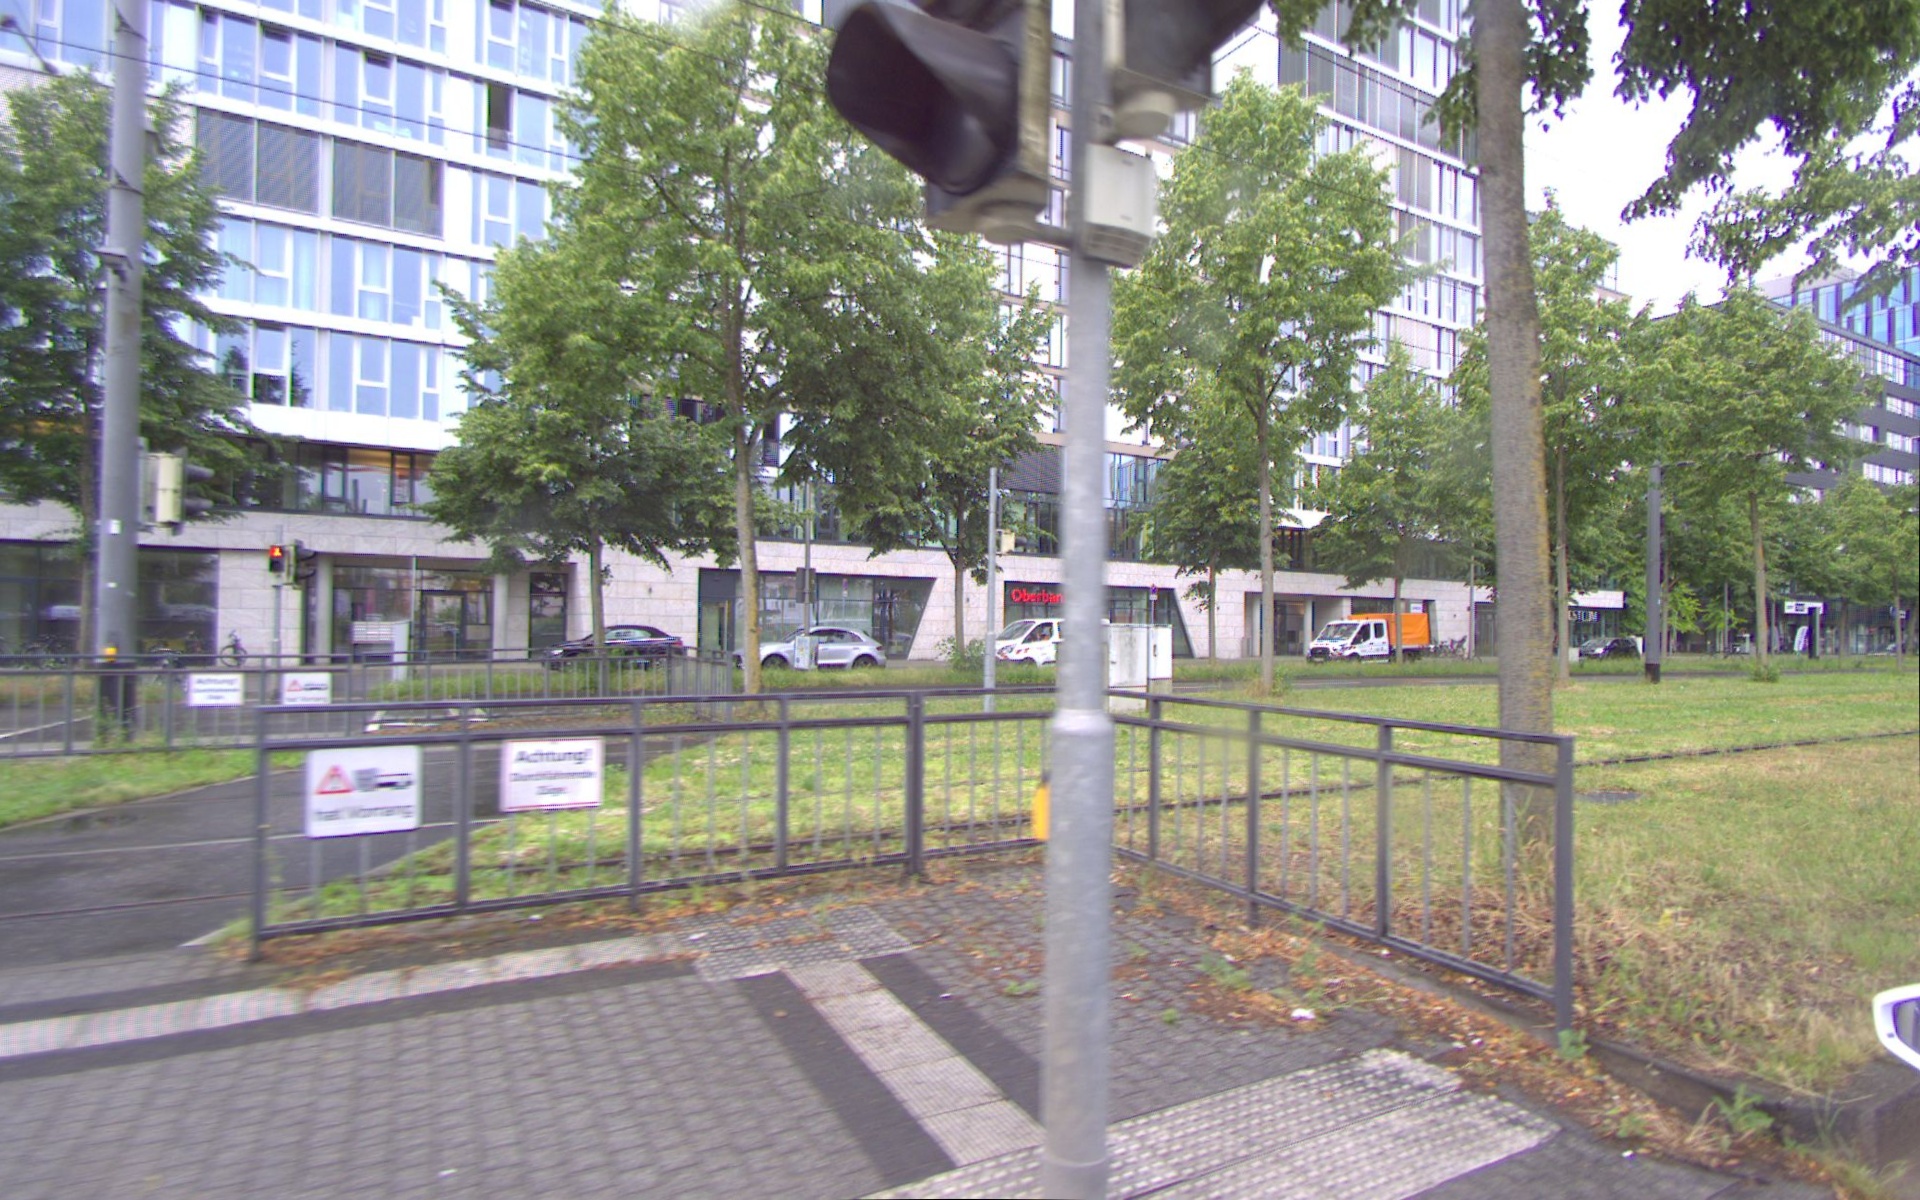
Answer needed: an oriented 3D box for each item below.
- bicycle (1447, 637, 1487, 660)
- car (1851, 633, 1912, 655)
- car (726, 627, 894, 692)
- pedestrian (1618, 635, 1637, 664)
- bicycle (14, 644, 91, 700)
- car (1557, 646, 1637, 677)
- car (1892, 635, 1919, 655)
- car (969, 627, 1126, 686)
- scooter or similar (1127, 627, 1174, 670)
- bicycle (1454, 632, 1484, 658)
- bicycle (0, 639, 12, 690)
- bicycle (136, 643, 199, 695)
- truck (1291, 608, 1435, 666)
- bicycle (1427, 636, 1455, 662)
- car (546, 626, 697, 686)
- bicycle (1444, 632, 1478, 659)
[{"bbox_3d":[21.513,2.052,42.586,1.734,0.957,0.597,1,-1,-26],"label":"bicycle"},{"bbox_3d":[63.179,2.997,68.831,3.952,1.396,1.984,1,-1,-30],"label":"car"},{"bbox_3d":[-4.402,1.705,29.546,4.411,1.735,2.134,1,-1,-30],"label":"car"},{"bbox_3d":[46.639,3.433,70.164,0.845,2.007,0.791,1,-1,-28],"label":"pedestrian"},{"bbox_3d":[-18.899,1.477,20.963,0.687,1.048,1.971,1,-1,-27],"label":"bicycle"},{"bbox_3d":[32.399,3.084,51.079,3.942,1.484,1.846,1,-1,-30],"label":"car"},{"bbox_3d":[68.606,3.202,71.656,3.952,1.396,1.984,1,-1,-30],"label":"car"},{"bbox_3d":[3.010,1.878,34.108,5.104,1.876,1.984,1,-1,-30],"label":"car"},{"bbox_3d":[8.579,2.178,45.271,0.875,1.849,2.112,1,-1,-33],"label":"scooter or similar"},{"bbox_3d":[30.843,2.726,60.860,0.600,1.559,1.560,1,-1,-30],"label":"bicycle"},{"bbox_3d":[-20.251,1.341,20.554,0.687,1.048,1.971,2,-1,-27],"label":"bicycle"},{"bbox_3d":[-17.254,1.478,21.912,0.687,1.048,1.971,1,-1,-27],"label":"bicycle"},{"bbox_3d":[17.206,1.560,42.793,6.234,2.322,2.415,1,-1,-30],"label":"truck"},{"bbox_3d":[28.334,2.889,59.212,0.540,1.502,1.425,1,-1,-30],"label":"bicycle"},{"bbox_3d":[-10.507,1.701,31.236,4.143,1.716,1.984,1,-1,-30],"label":"car"},{"bbox_3d":[29.933,2.701,60.028,0.673,1.559,1.695,1,-1,-30],"label":"bicycle"}]
